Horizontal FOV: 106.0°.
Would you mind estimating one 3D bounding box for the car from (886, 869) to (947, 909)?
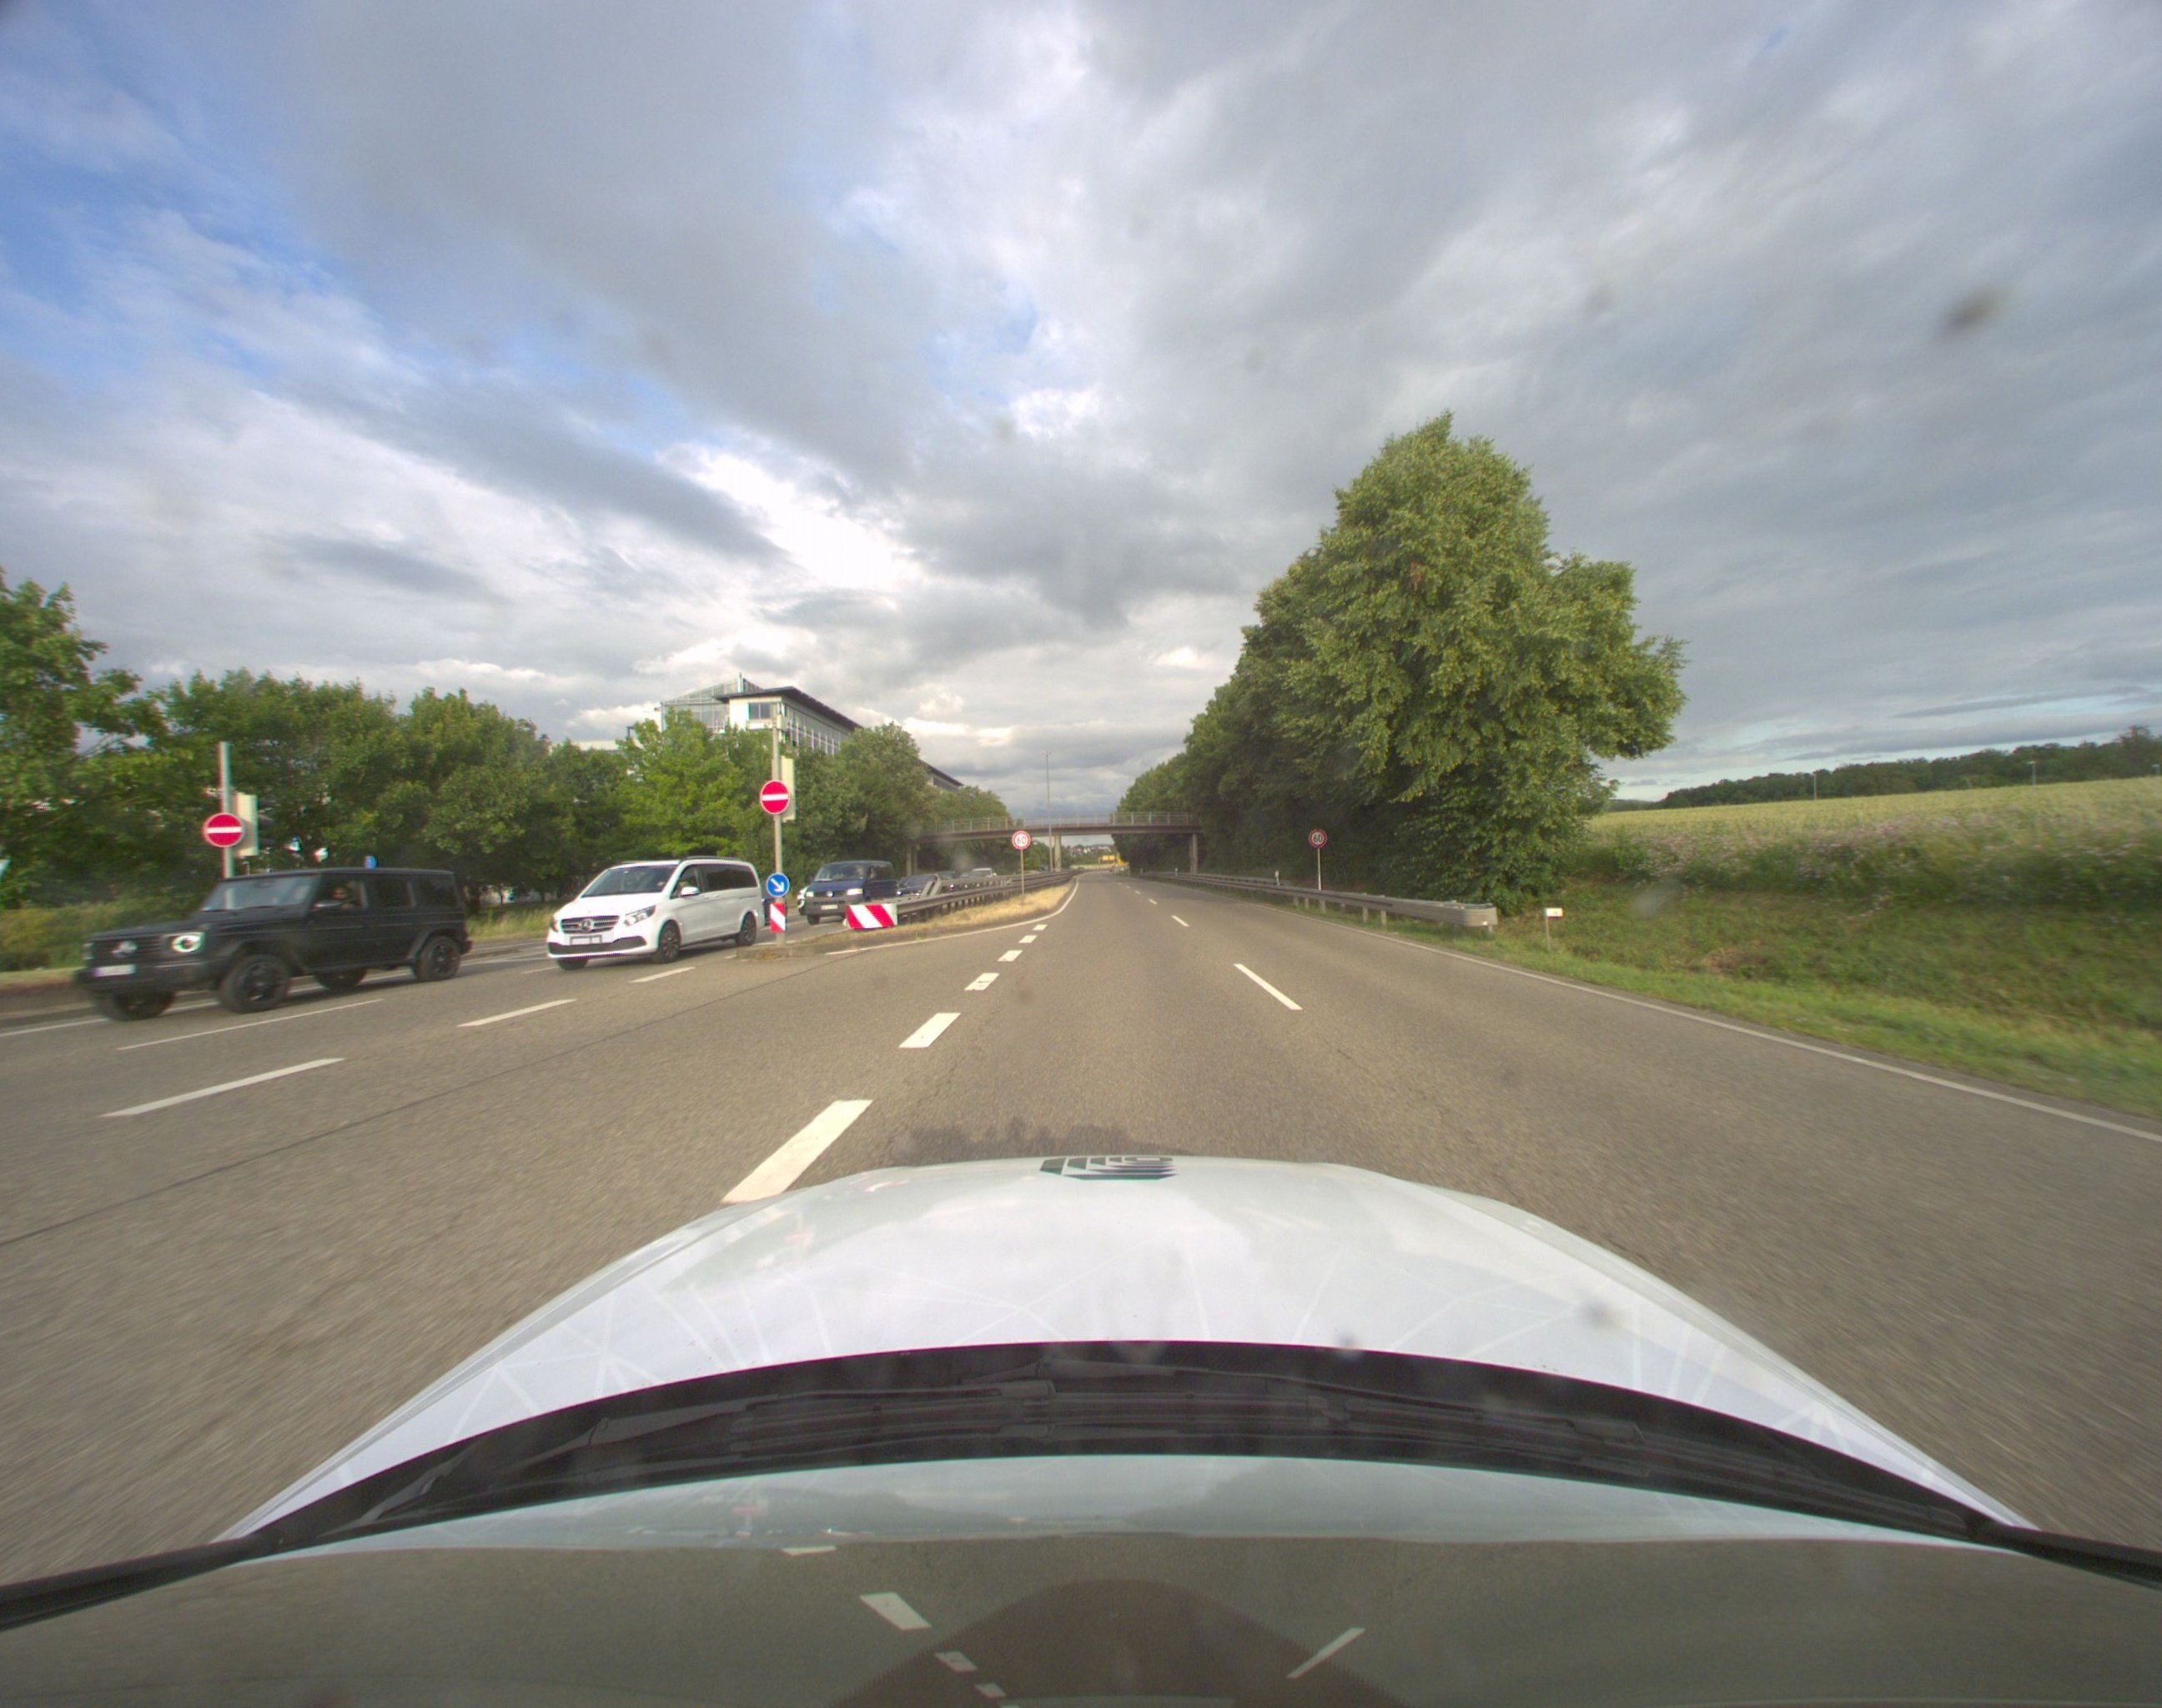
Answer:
[{"bbox_3d":[-7.226,1.500,36.195,1.707,1.589,4.554,-1,-1,1],"label":"car"}]

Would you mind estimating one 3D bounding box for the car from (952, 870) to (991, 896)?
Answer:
[{"bbox_3d":[-6.546,1.705,48.924,1.712,1.467,3.734,-2,-1,1],"label":"car"}]

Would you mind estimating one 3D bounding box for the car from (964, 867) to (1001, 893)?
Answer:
[{"bbox_3d":[-6.739,1.758,56.403,1.816,1.584,4.791,-3,-1,1],"label":"car"}]

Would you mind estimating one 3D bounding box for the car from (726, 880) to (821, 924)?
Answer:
[{"bbox_3d":[-10.912,1.657,29.181,1.715,1.240,4.001,-5,-1,1],"label":"car"}]

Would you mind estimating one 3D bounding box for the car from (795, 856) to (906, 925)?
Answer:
[{"bbox_3d":[-7.450,1.126,26.892,1.891,1.917,5.053,-5,-1,2],"label":"car"}]

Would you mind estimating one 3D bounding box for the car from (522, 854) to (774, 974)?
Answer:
[{"bbox_3d":[-8.126,1.034,16.046,1.927,1.872,5.348,-3,-1,1],"label":"car"}]

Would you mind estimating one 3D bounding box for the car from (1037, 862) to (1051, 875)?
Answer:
[{"bbox_3d":[-7.914,3.170,175.527,2.242,2.536,6.940,-5,-1,1],"label":"car"}]

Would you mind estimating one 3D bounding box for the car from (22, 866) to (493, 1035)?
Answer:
[{"bbox_3d":[-11.995,1.227,12.575,1.927,1.990,5.093,-3,-1,2],"label":"car"}]

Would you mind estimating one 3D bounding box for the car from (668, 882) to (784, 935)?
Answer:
[{"bbox_3d":[-11.025,1.646,25.639,1.641,1.388,4.188,-2,-1,2],"label":"car"}]

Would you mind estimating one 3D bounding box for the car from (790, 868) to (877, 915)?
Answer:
[{"bbox_3d":[-10.641,1.546,35.394,2.026,1.749,4.847,-4,-1,2],"label":"car"}]
